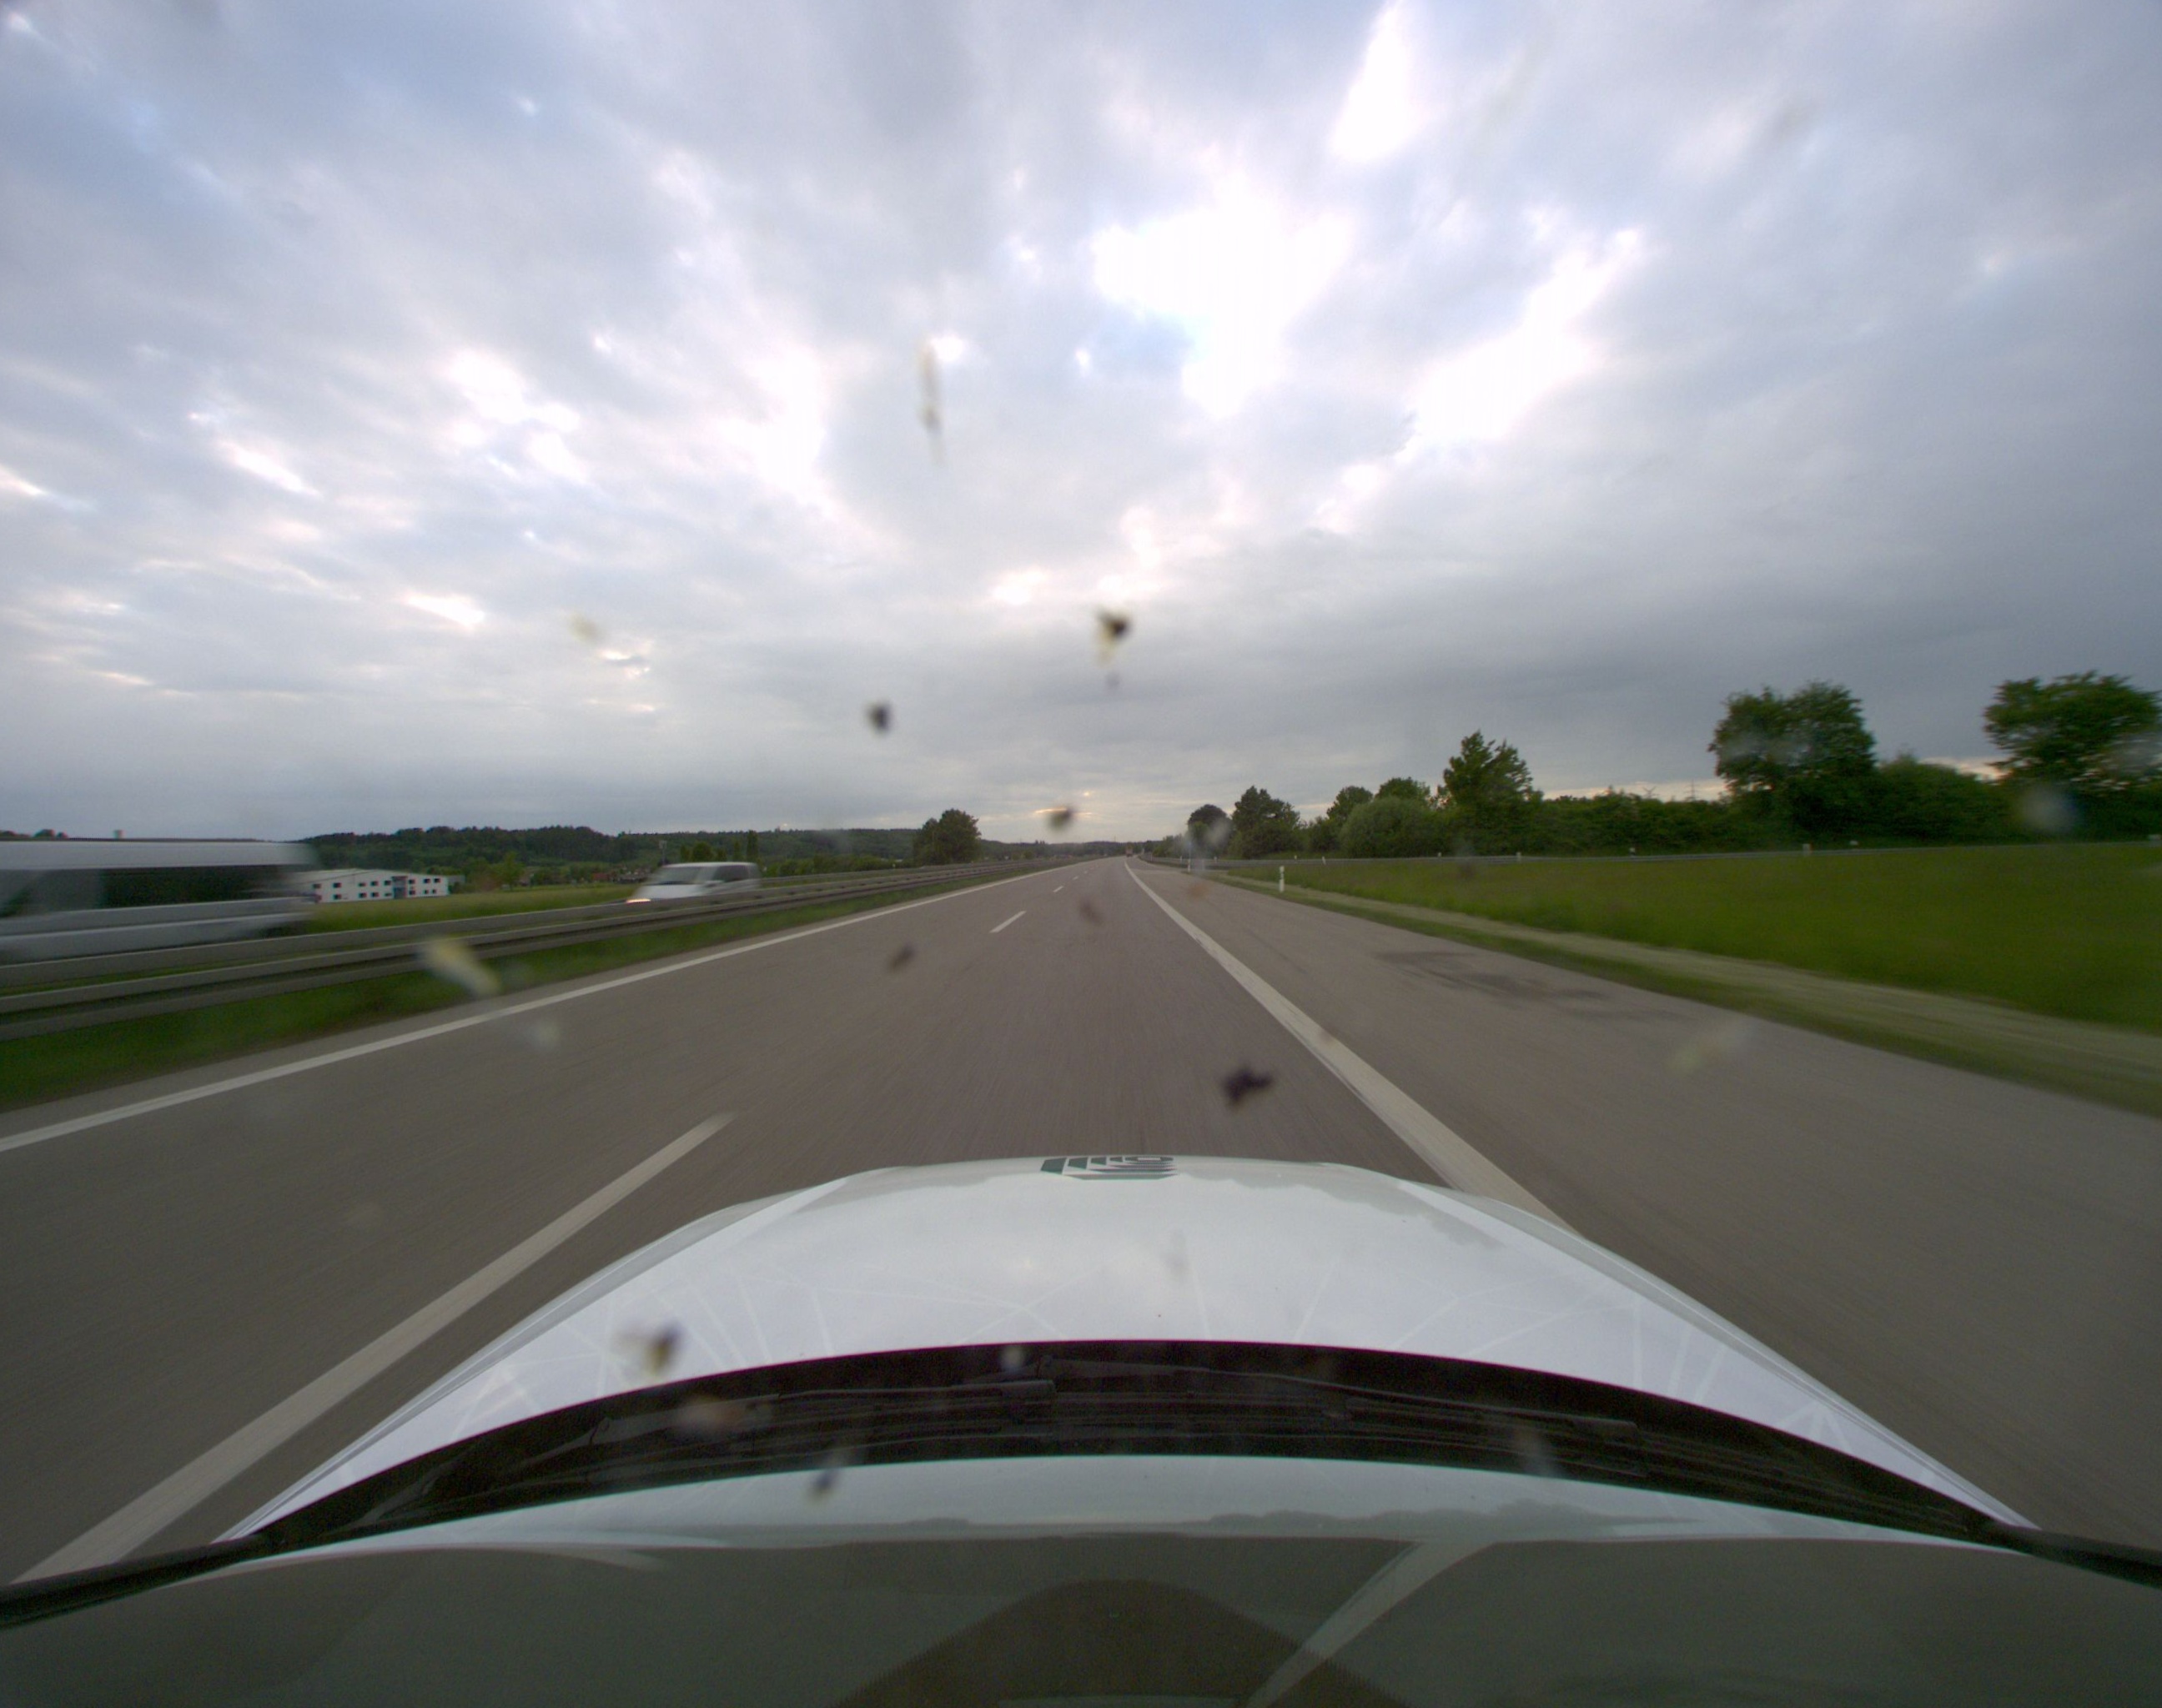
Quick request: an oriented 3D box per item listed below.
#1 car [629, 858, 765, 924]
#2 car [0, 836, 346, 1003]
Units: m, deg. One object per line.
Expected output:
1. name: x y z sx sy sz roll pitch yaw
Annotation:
1. car: -12.313 1.094 26.542 1.899 1.890 5.073 -1 0 1
2. car: -17.029 0.983 14.269 2.137 2.483 6.592 -1 0 2
